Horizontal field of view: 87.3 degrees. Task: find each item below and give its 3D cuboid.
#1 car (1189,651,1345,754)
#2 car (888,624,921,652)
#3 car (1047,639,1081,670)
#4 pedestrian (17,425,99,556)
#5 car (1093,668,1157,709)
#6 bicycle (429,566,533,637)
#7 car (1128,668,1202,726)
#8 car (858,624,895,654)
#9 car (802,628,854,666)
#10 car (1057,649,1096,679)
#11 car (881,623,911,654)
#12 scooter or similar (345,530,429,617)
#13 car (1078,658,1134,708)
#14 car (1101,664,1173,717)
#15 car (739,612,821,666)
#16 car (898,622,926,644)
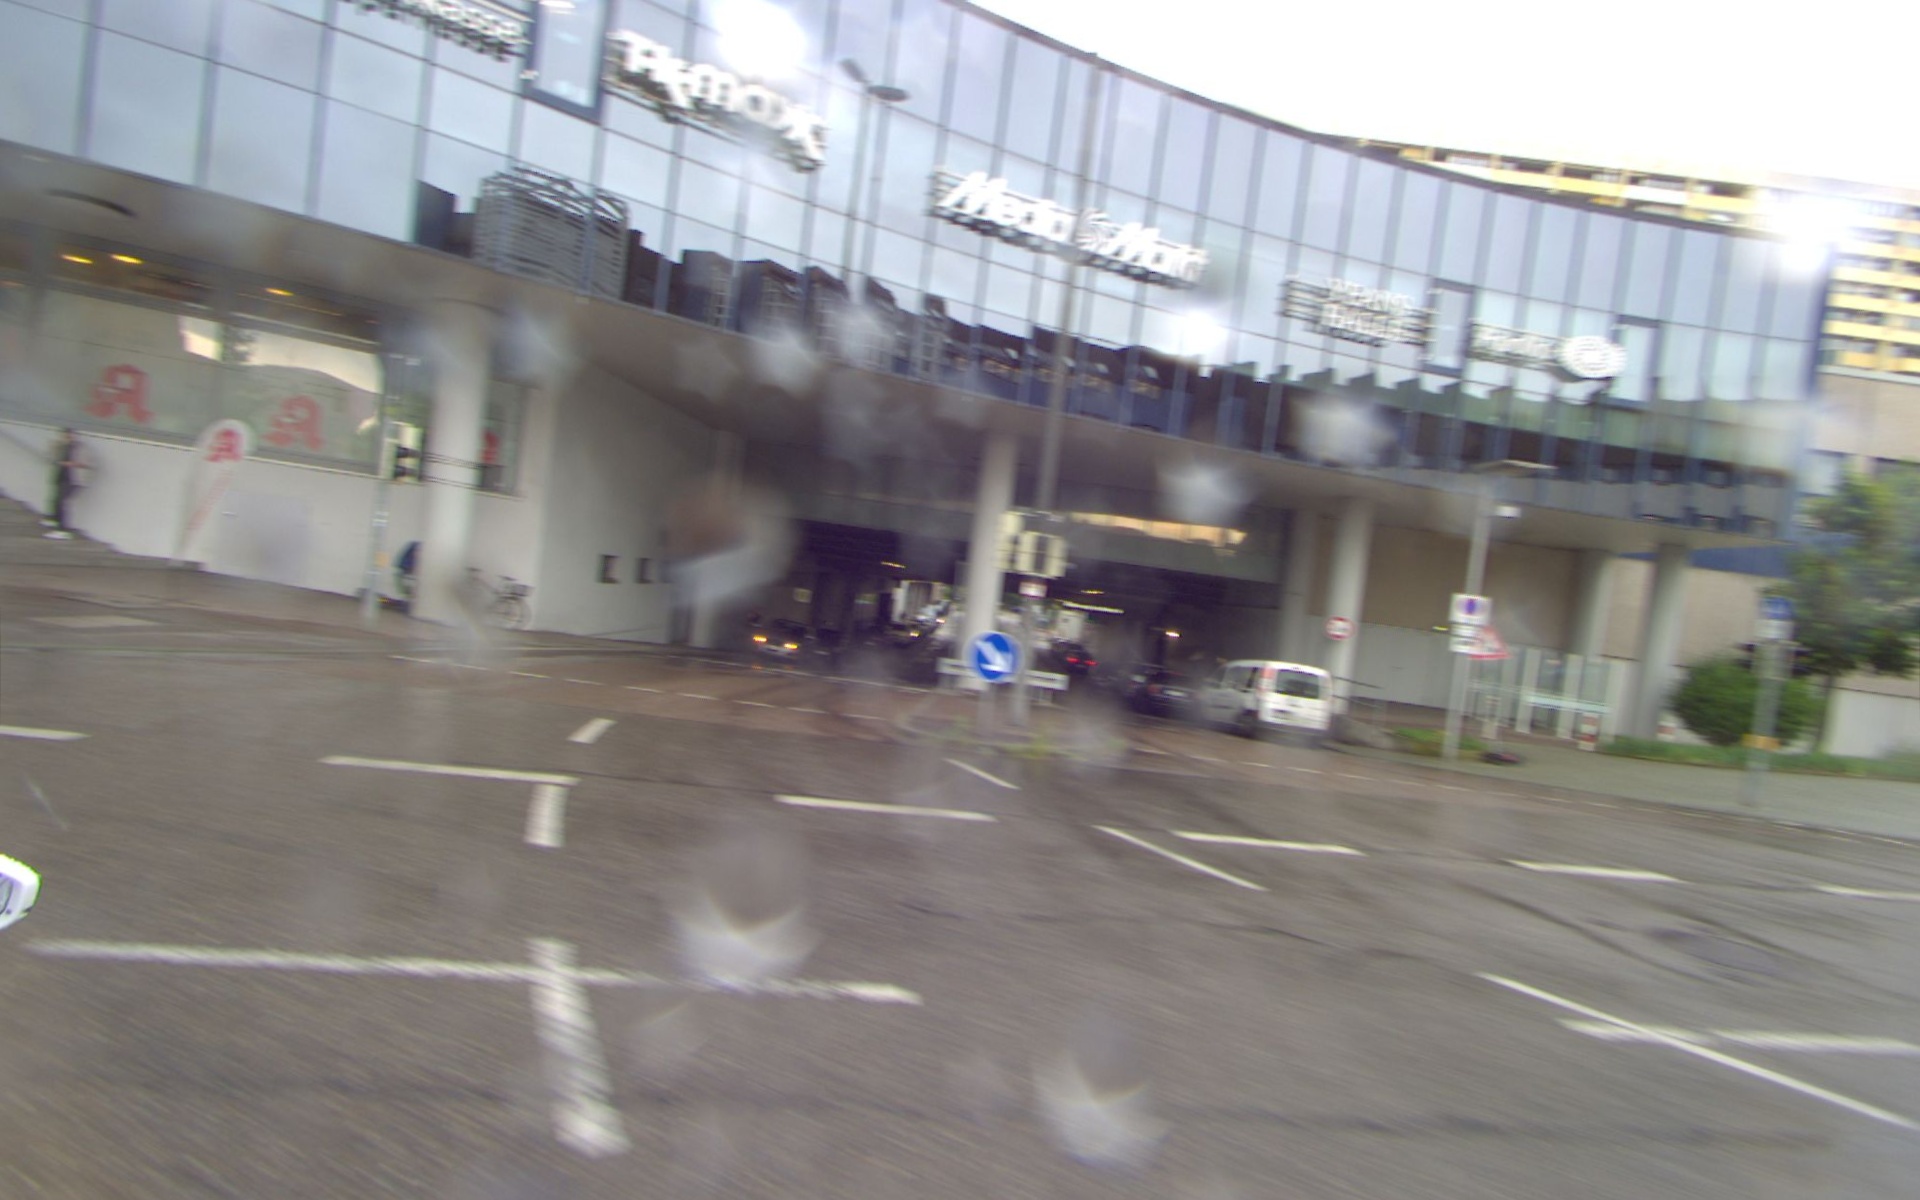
[{"bbox_3d":[7.048,2.309,23.619,1.898,1.819,4.294,7,-1,-5],"label":"car"},{"bbox_3d":[-4.105,2.804,75.067,1.964,1.684,3.999,9,0,0],"label":"car"},{"bbox_3d":[7.605,3.970,73.949,1.814,1.798,3.589,9,0,-2],"label":"car"},{"bbox_3d":[-14.301,-1.719,15.970,0.649,1.932,0.591,7,2,-23],"label":"pedestrian"},{"bbox_3d":[6.812,3.663,41.898,1.752,1.415,4.006,7,-4,-1],"label":"car"},{"bbox_3d":[-9.110,0.046,19.189,0.446,1.028,1.582,10,-4,44],"label":"bicycle"},{"bbox_3d":[6.329,2.967,31.460,1.730,1.480,3.949,6,-3,6],"label":"car"},{"bbox_3d":[-5.323,2.469,64.387,1.885,1.607,3.938,7,0,0],"label":"car"},{"bbox_3d":[-6.091,2.144,46.693,1.743,1.481,3.878,7,-2,0],"label":"car"},{"bbox_3d":[7.804,4.286,67.717,1.860,1.509,3.839,9,0,-2],"label":"car"},{"bbox_3d":[-4.437,2.613,69.524,1.809,1.749,3.996,7,0,-4],"label":"car"},{"bbox_3d":[-10.355,-0.482,18.212,1.158,1.390,0.485,8,1,-30],"label":"scooter or similar"},{"bbox_3d":[6.701,3.795,46.493,1.764,1.793,3.999,7,0,-1],"label":"car"},{"bbox_3d":[6.370,3.269,36.598,1.608,1.628,4.270,6,-5,-1],"label":"car"},{"bbox_3d":[-6.088,1.392,34.410,1.863,1.485,4.034,7,-4,1],"label":"car"},{"bbox_3d":[-3.955,2.717,83.645,1.963,1.482,3.999,7,0,0],"label":"car"}]
